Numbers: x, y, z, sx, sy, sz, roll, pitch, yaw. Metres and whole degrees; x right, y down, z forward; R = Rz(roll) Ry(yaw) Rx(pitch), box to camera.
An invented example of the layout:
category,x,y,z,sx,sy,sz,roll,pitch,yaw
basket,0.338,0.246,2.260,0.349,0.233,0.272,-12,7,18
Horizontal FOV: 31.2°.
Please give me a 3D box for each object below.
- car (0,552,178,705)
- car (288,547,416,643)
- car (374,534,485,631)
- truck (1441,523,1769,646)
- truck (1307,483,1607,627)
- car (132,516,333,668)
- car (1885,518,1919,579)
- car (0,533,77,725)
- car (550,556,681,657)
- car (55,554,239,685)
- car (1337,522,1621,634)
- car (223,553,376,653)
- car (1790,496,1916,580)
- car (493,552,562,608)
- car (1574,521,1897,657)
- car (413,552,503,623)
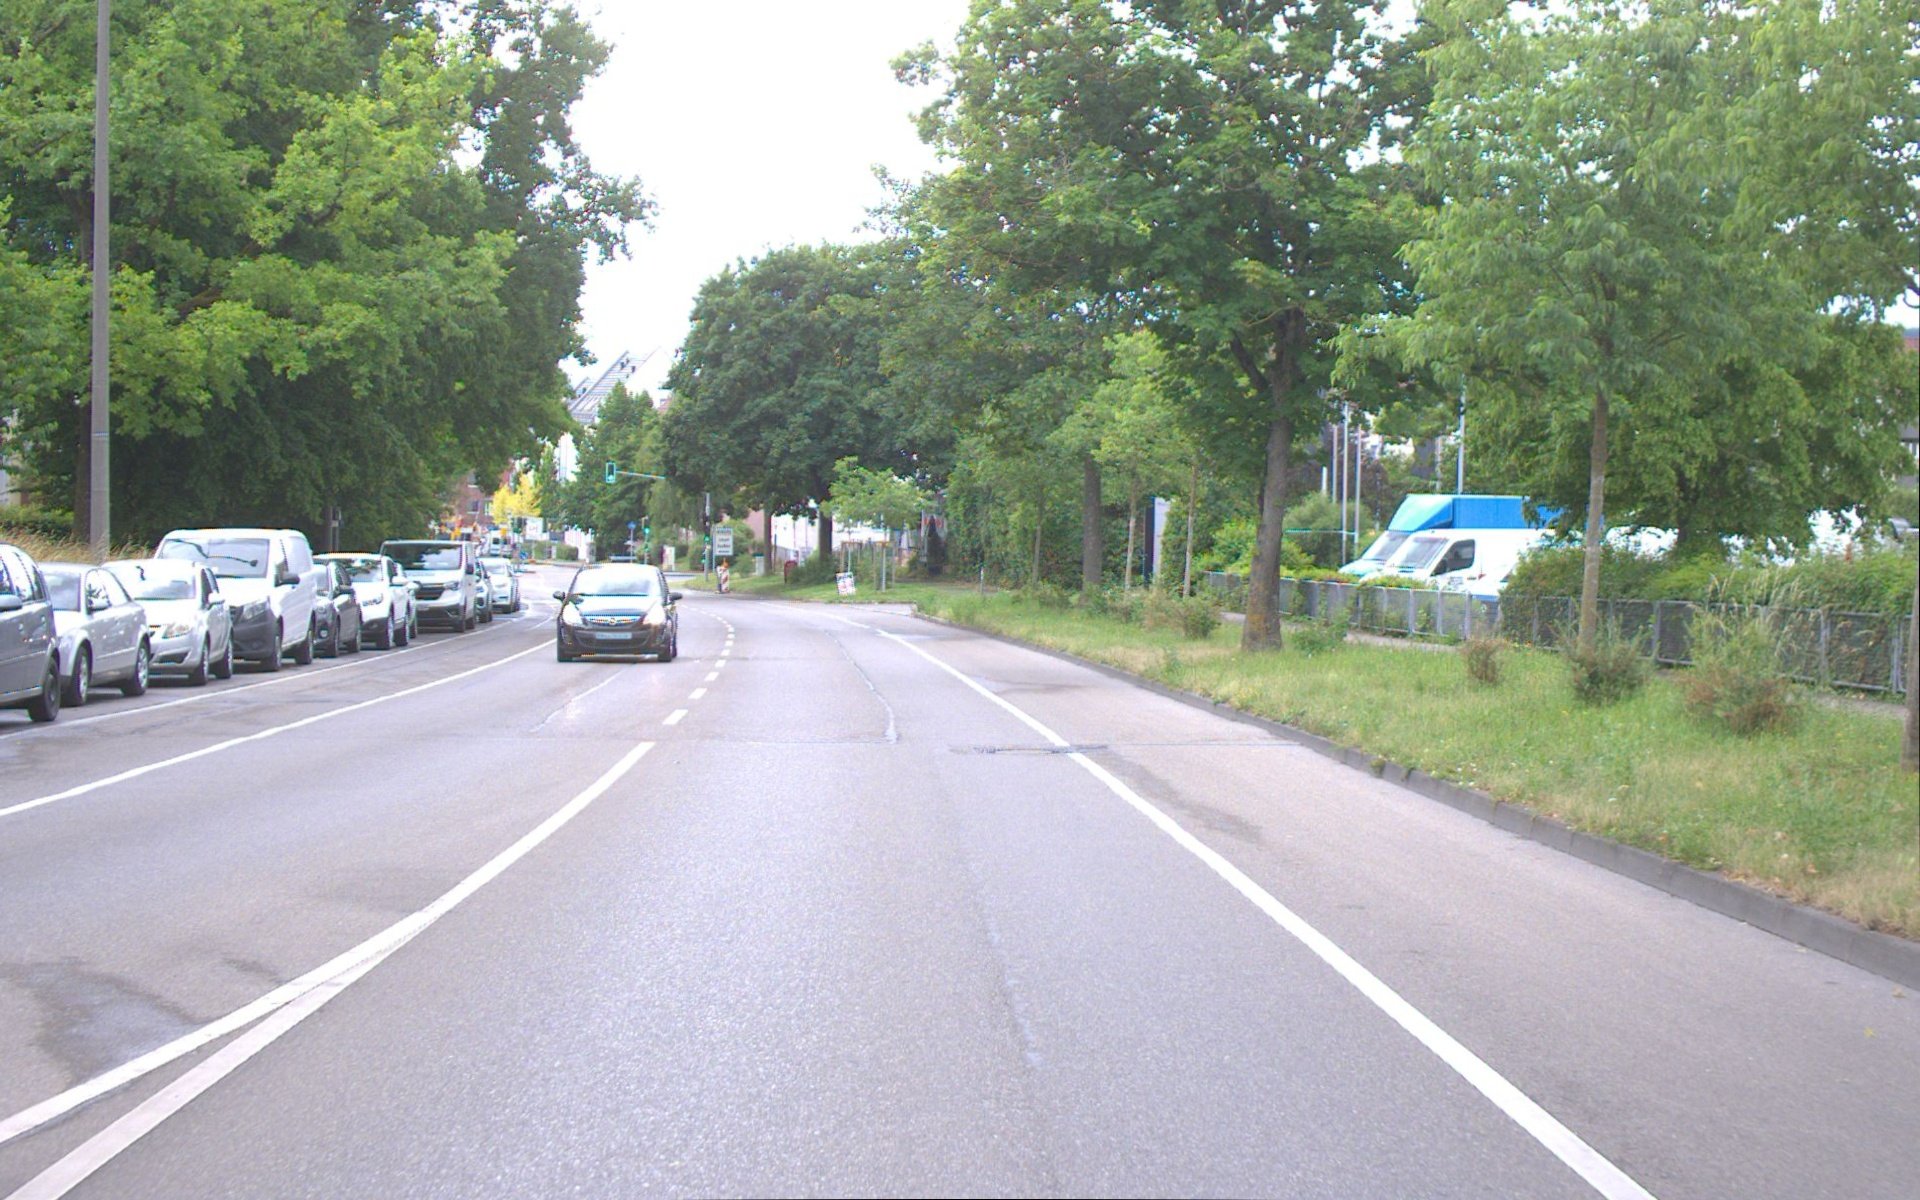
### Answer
category,x,y,z,sx,sy,sz,roll,pitch,yaw
car,-9.579,0.252,36.080,1.768,1.490,4.357,0,1,-1
car,-10.237,-0.096,58.081,1.673,1.559,4.282,0,0,-4
car,-11.153,-0.386,72.547,1.866,1.957,5.127,1,1,-4
truck,12.504,-0.287,66.457,6.233,2.205,2.247,1,0,-30
truck,12.426,-1.103,85.825,7.162,3.465,2.619,0,1,-27
car,-9.857,-0.148,46.936,1.768,1.924,5.156,2,1,-2
car,32.767,-1.744,114.735,2.063,1.949,4.490,2,3,38
car,-8.841,0.215,29.237,1.768,1.586,4.135,1,1,-3
car,-5.138,0.079,51.687,1.637,1.462,4.000,0,0,-1
car,-9.634,0.197,40.975,1.634,1.428,3.951,1,1,-6
car,11.754,-0.495,77.788,6.009,2.359,2.363,1,0,-26
car,-10.189,0.031,53.291,1.673,1.483,4.045,-1,0,-1
car,30.140,-2.142,115.966,2.260,2.667,5.439,2,3,36
car,-12.552,-0.577,99.917,1.767,1.568,4.760,0,0,-5
car,13.311,-0.183,58.946,5.243,2.180,2.072,1,0,-27
car,-11.913,-0.304,81.837,1.766,1.628,4.158,1,1,-4
